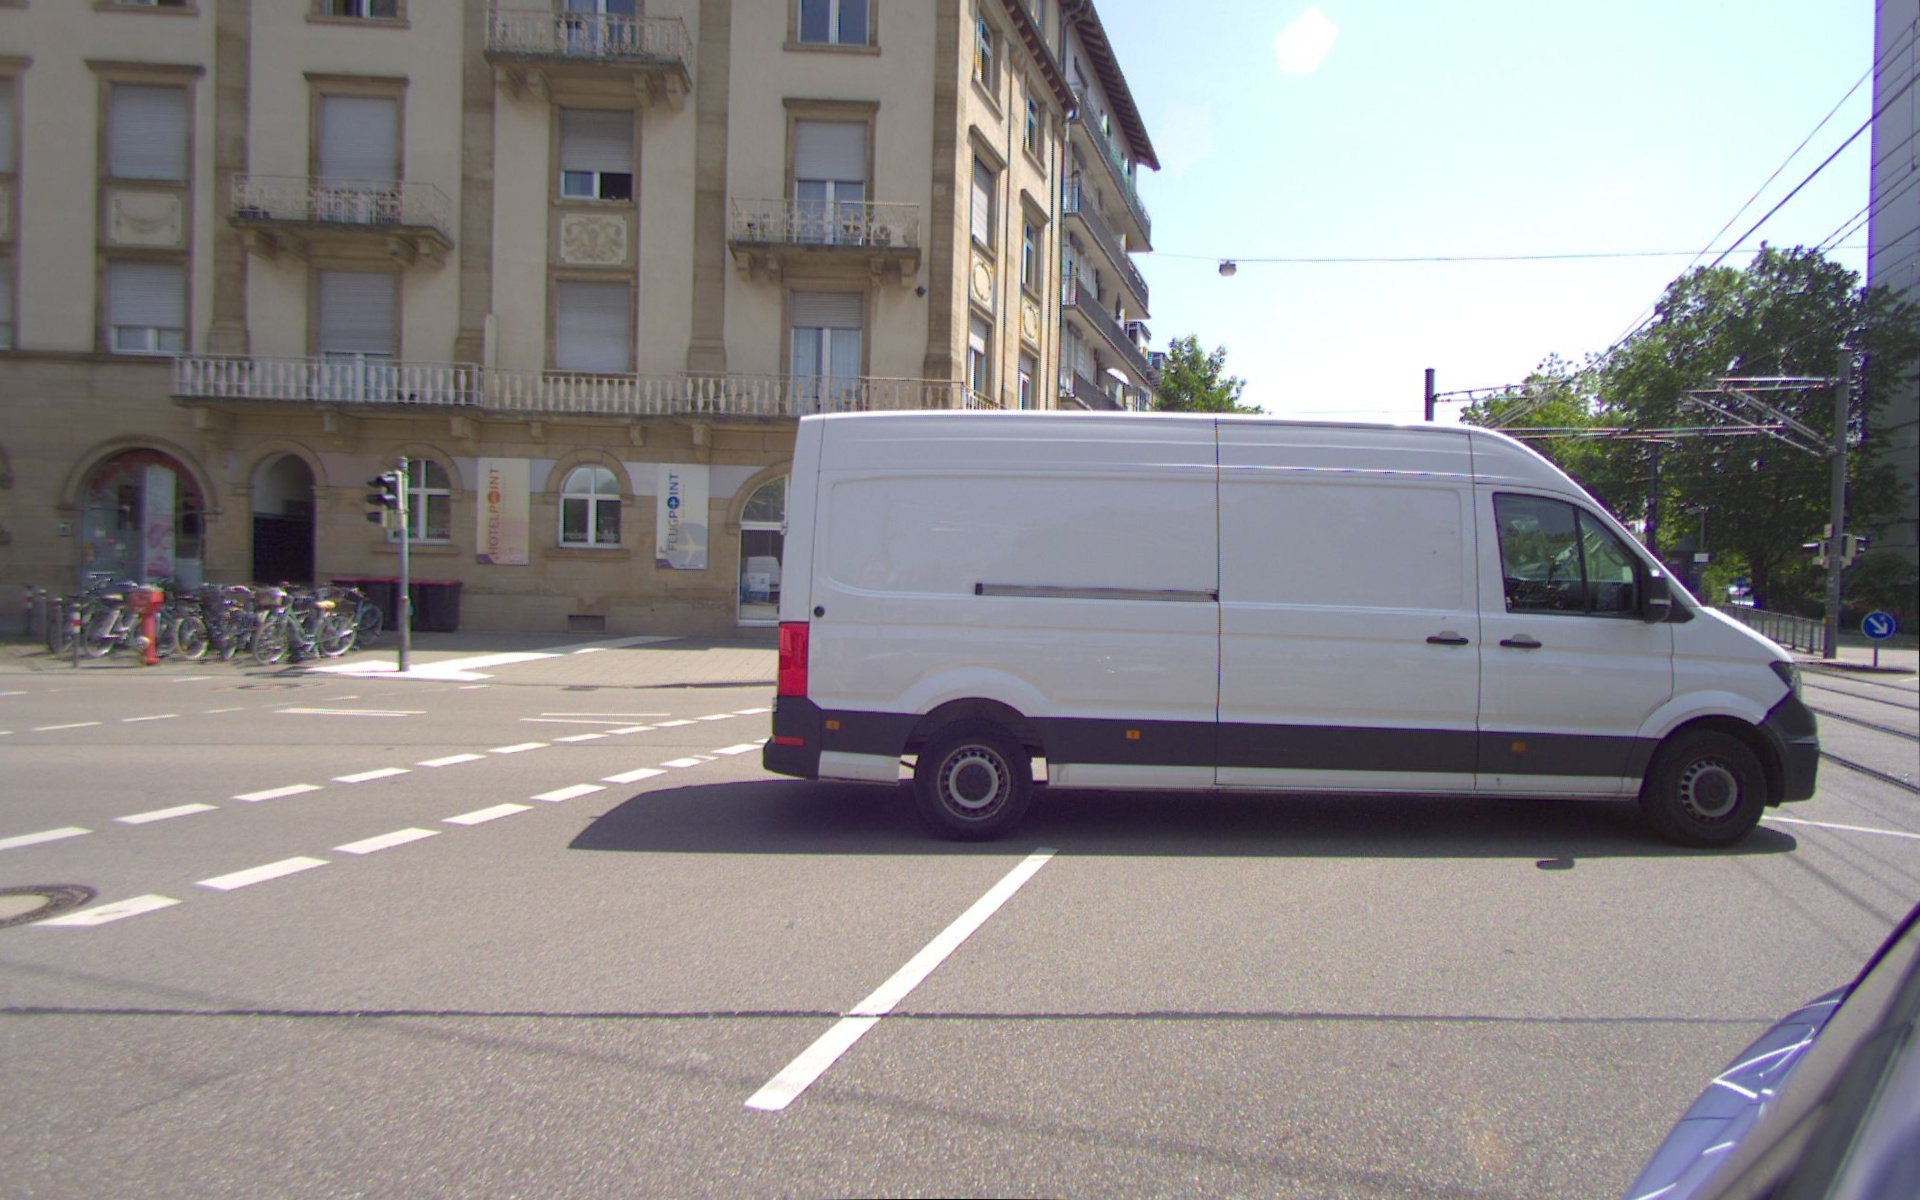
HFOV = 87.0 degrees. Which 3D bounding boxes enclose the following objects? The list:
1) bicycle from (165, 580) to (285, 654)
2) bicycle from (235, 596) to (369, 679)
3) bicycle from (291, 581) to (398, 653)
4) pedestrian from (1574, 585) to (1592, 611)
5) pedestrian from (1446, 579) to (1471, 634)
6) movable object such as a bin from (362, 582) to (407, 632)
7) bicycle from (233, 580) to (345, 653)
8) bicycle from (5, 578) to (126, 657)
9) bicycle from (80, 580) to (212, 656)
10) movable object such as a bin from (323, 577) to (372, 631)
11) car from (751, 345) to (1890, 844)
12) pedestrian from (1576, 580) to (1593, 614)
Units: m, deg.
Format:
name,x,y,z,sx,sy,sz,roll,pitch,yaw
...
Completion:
name,x,y,z,sx,sy,sz,roll,pitch,yaw
bicycle,-12.712,0.262,17.573,0.556,1.165,1.801,0,2,10
bicycle,-10.583,0.565,16.382,0.556,1.165,2.055,0,2,10
bicycle,-10.898,0.270,17.988,0.556,1.165,1.801,0,2,10
pedestrian,33.264,-0.135,54.049,0.671,1.366,0.627,0,1,20
pedestrian,16.034,0.199,32.572,0.672,1.727,0.549,1,1,24
movable object such as a bin,-11.767,0.136,20.709,0.580,1.007,0.582,0,1,5
bicycle,-11.813,0.259,17.887,0.556,1.165,1.801,0,2,10
bicycle,-14.490,0.248,16.456,0.553,1.165,1.809,0,2,-8
bicycle,-13.613,0.272,16.995,0.556,1.165,1.801,0,2,10
movable object such as a bin,-12.520,0.076,20.685,0.580,1.077,0.670,0,1,5
car,2.063,-0.040,6.860,6.506,2.670,2.078,2,1,-1
pedestrian,30.977,-0.157,50.196,0.547,1.626,0.676,0,1,20
